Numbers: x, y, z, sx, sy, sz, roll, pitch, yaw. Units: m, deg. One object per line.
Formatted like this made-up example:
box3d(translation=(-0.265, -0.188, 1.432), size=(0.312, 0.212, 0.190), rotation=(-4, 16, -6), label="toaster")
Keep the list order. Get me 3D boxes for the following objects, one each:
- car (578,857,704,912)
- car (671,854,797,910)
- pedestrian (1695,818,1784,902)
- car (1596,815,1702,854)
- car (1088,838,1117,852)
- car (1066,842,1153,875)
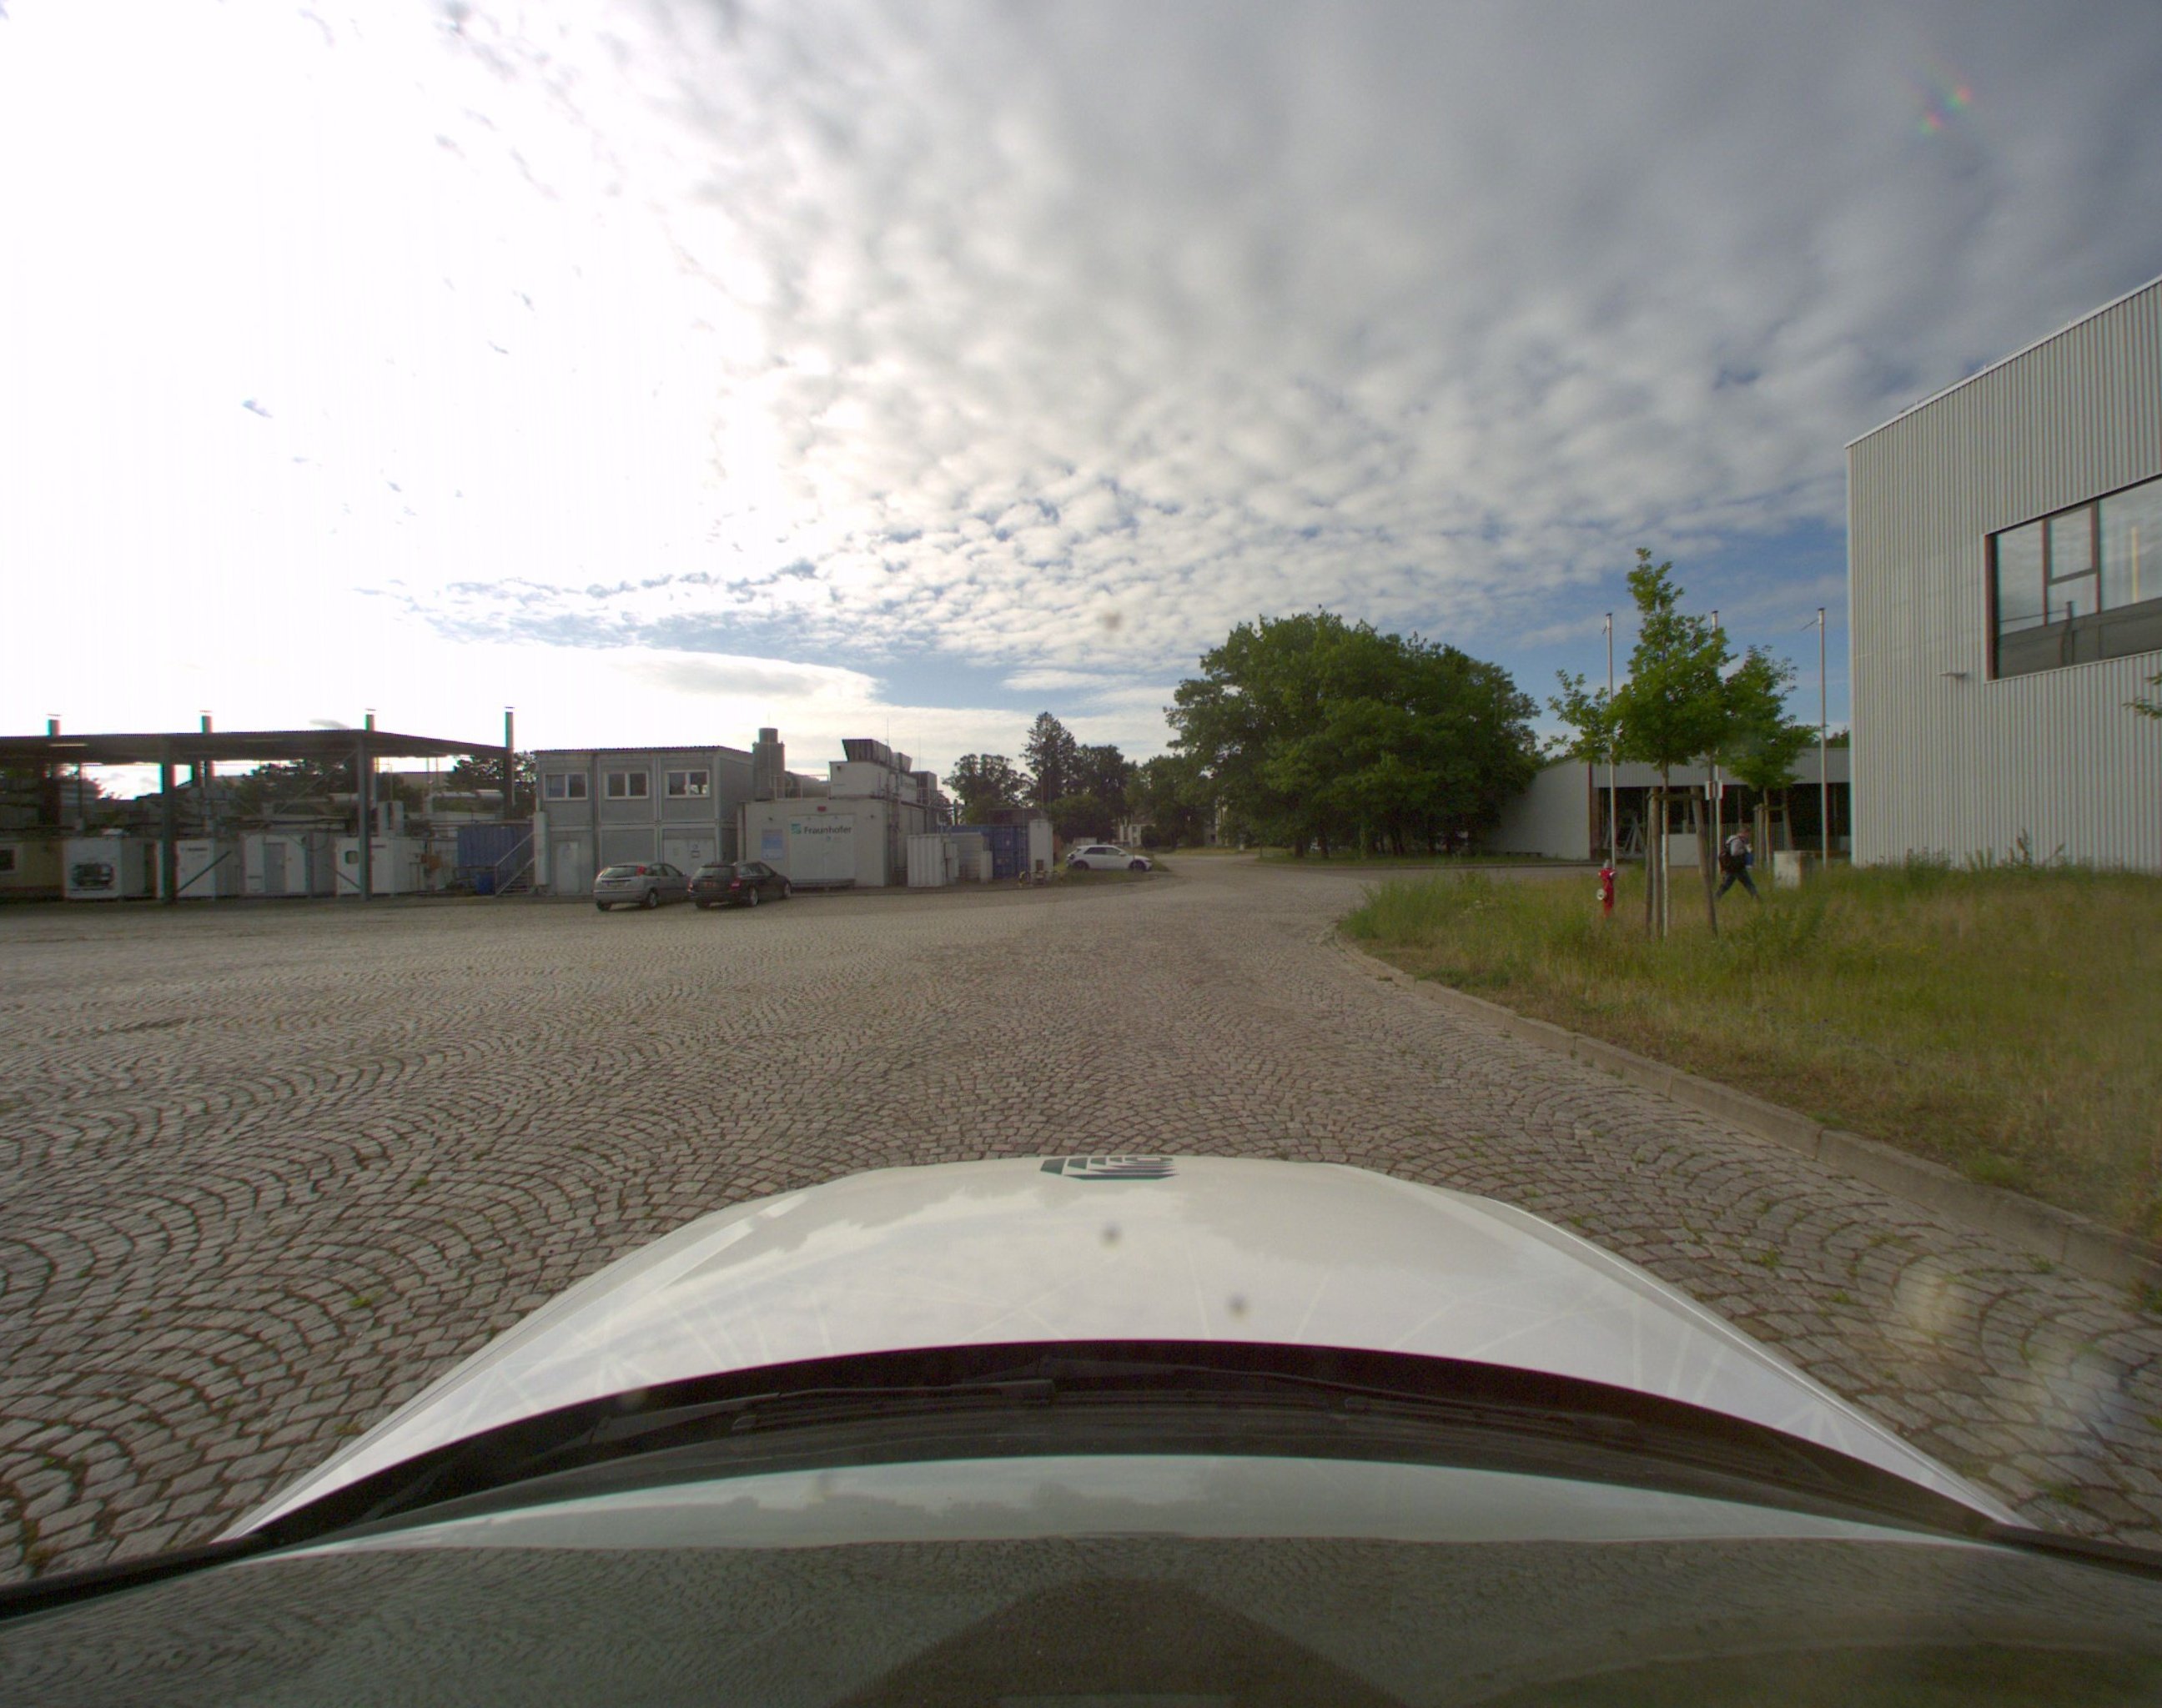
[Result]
box3d(translation=(-14.314, 0.940, 26.783), size=(1.901, 1.475, 4.046), rotation=(-2, 2, -1), label="car")
box3d(translation=(-11.157, 0.847, 26.576), size=(2.029, 1.453, 4.531), rotation=(-2, 2, 1), label="car")
box3d(translation=(12.680, 0.115, 15.730), size=(1.065, 1.556, 1.081), rotation=(-2, 0, 25), label="pedestrian")
box3d(translation=(31.948, -1.053, 46.029), size=(2.234, 2.013, 5.336), rotation=(-2, 0, 0), label="car")
box3d(translation=(3.787, -1.643, 145.102), size=(5.153, 2.337, 2.000), rotation=(-2, 0, 0), label="car")
box3d(translation=(1.547, 0.249, 43.515), size=(4.515, 1.599, 2.002), rotation=(-2, 0, 3), label="car")
